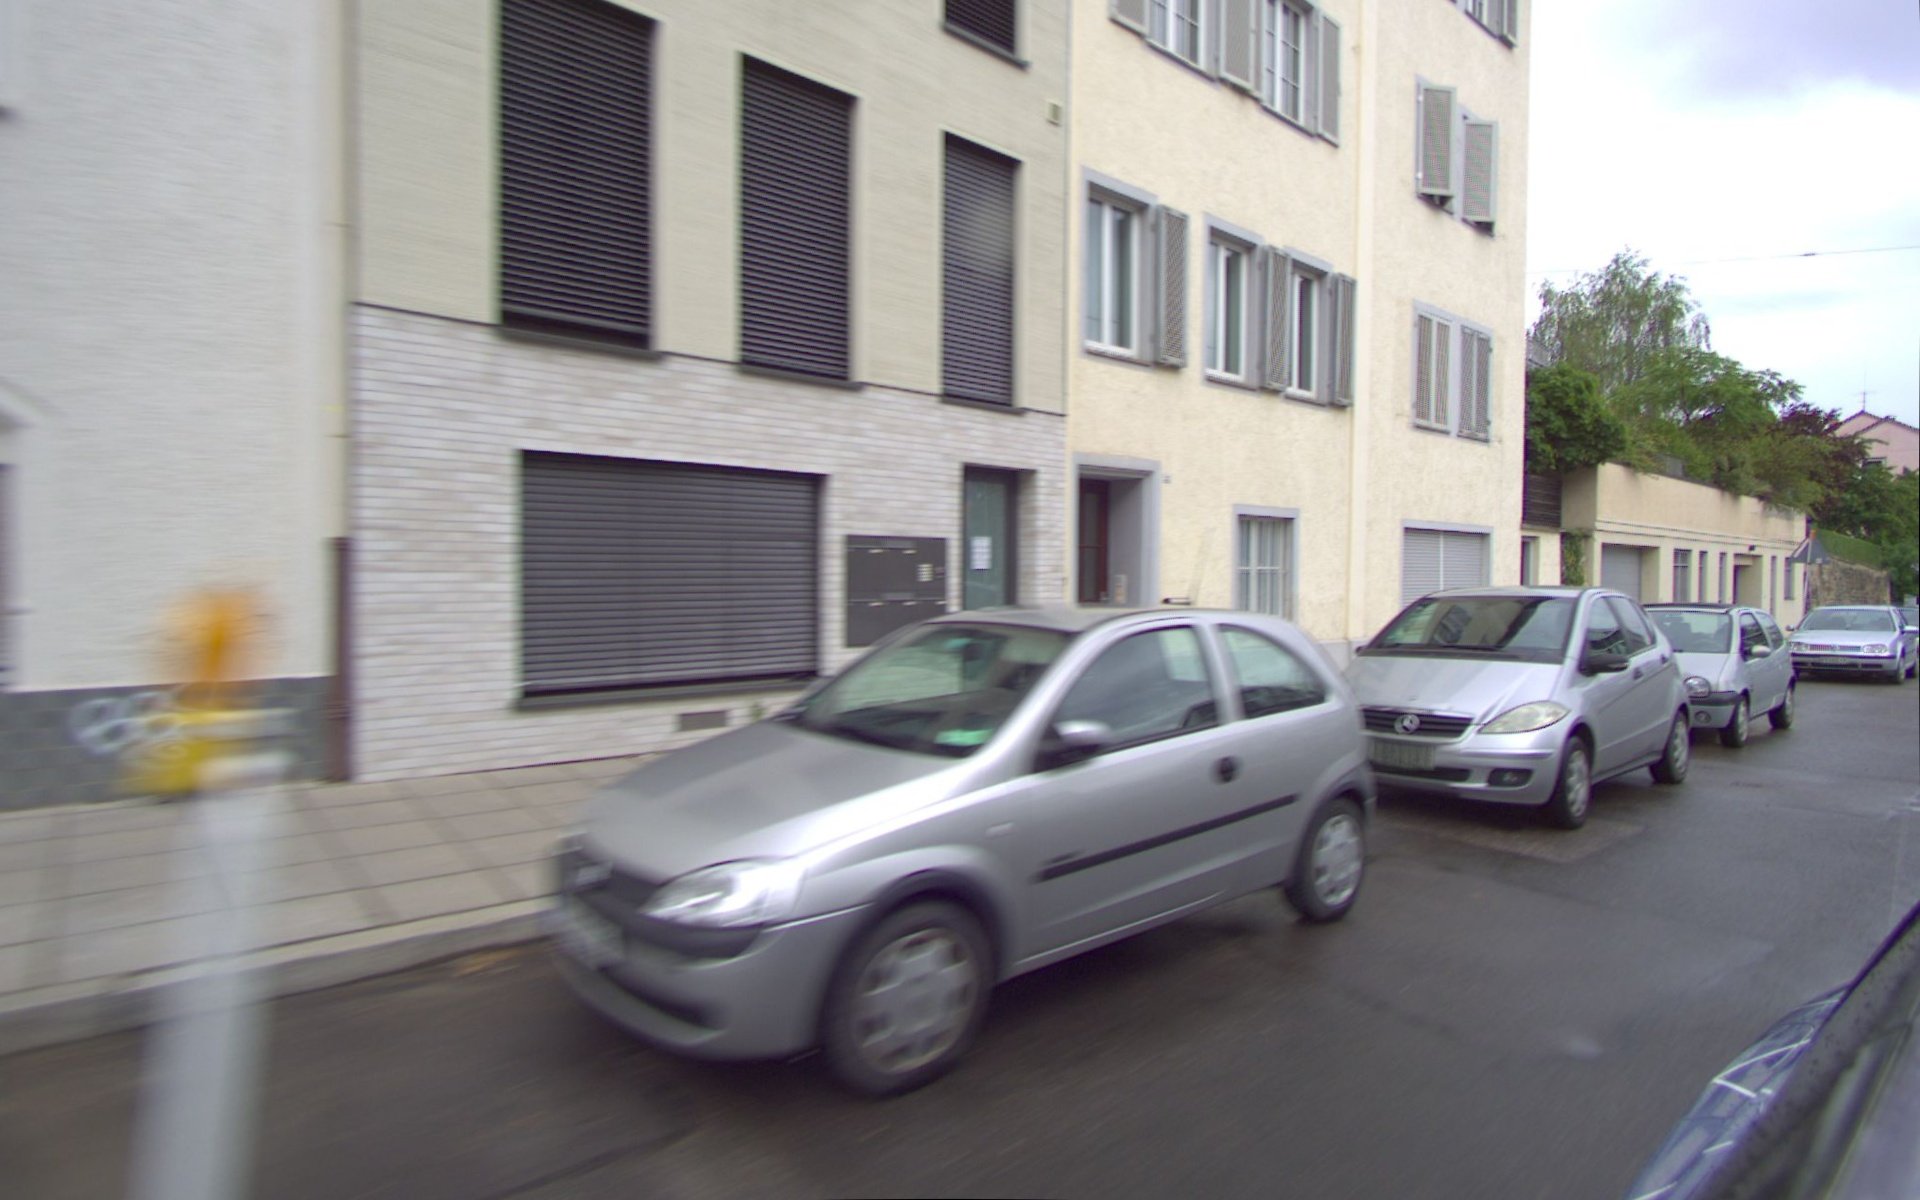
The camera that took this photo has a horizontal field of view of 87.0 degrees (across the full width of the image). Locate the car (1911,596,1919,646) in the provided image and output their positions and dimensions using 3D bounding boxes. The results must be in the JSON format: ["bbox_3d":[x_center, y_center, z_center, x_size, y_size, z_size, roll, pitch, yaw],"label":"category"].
[{"bbox_3d":[30.004,0.611,30.406,4.162,1.472,1.691,0,0,-41],"label":"car"}]

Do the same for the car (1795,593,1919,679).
[{"bbox_3d":[17.308,0.612,19.265,3.694,1.472,1.631,0,0,-41],"label":"car"}]

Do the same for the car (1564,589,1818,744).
[{"bbox_3d":[8.353,0.627,11.452,3.694,1.472,1.561,0,0,-41],"label":"car"}]

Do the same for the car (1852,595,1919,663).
[{"bbox_3d":[21.811,0.614,23.172,3.694,1.472,1.631,0,0,-41],"label":"car"}]

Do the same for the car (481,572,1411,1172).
[{"bbox_3d":[0.217,0.641,4.273,3.774,1.429,1.629,0,0,-40],"label":"car"}]

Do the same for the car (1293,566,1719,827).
[{"bbox_3d":[4.428,0.561,7.949,3.931,1.544,1.718,0,0,-42],"label":"car"}]
